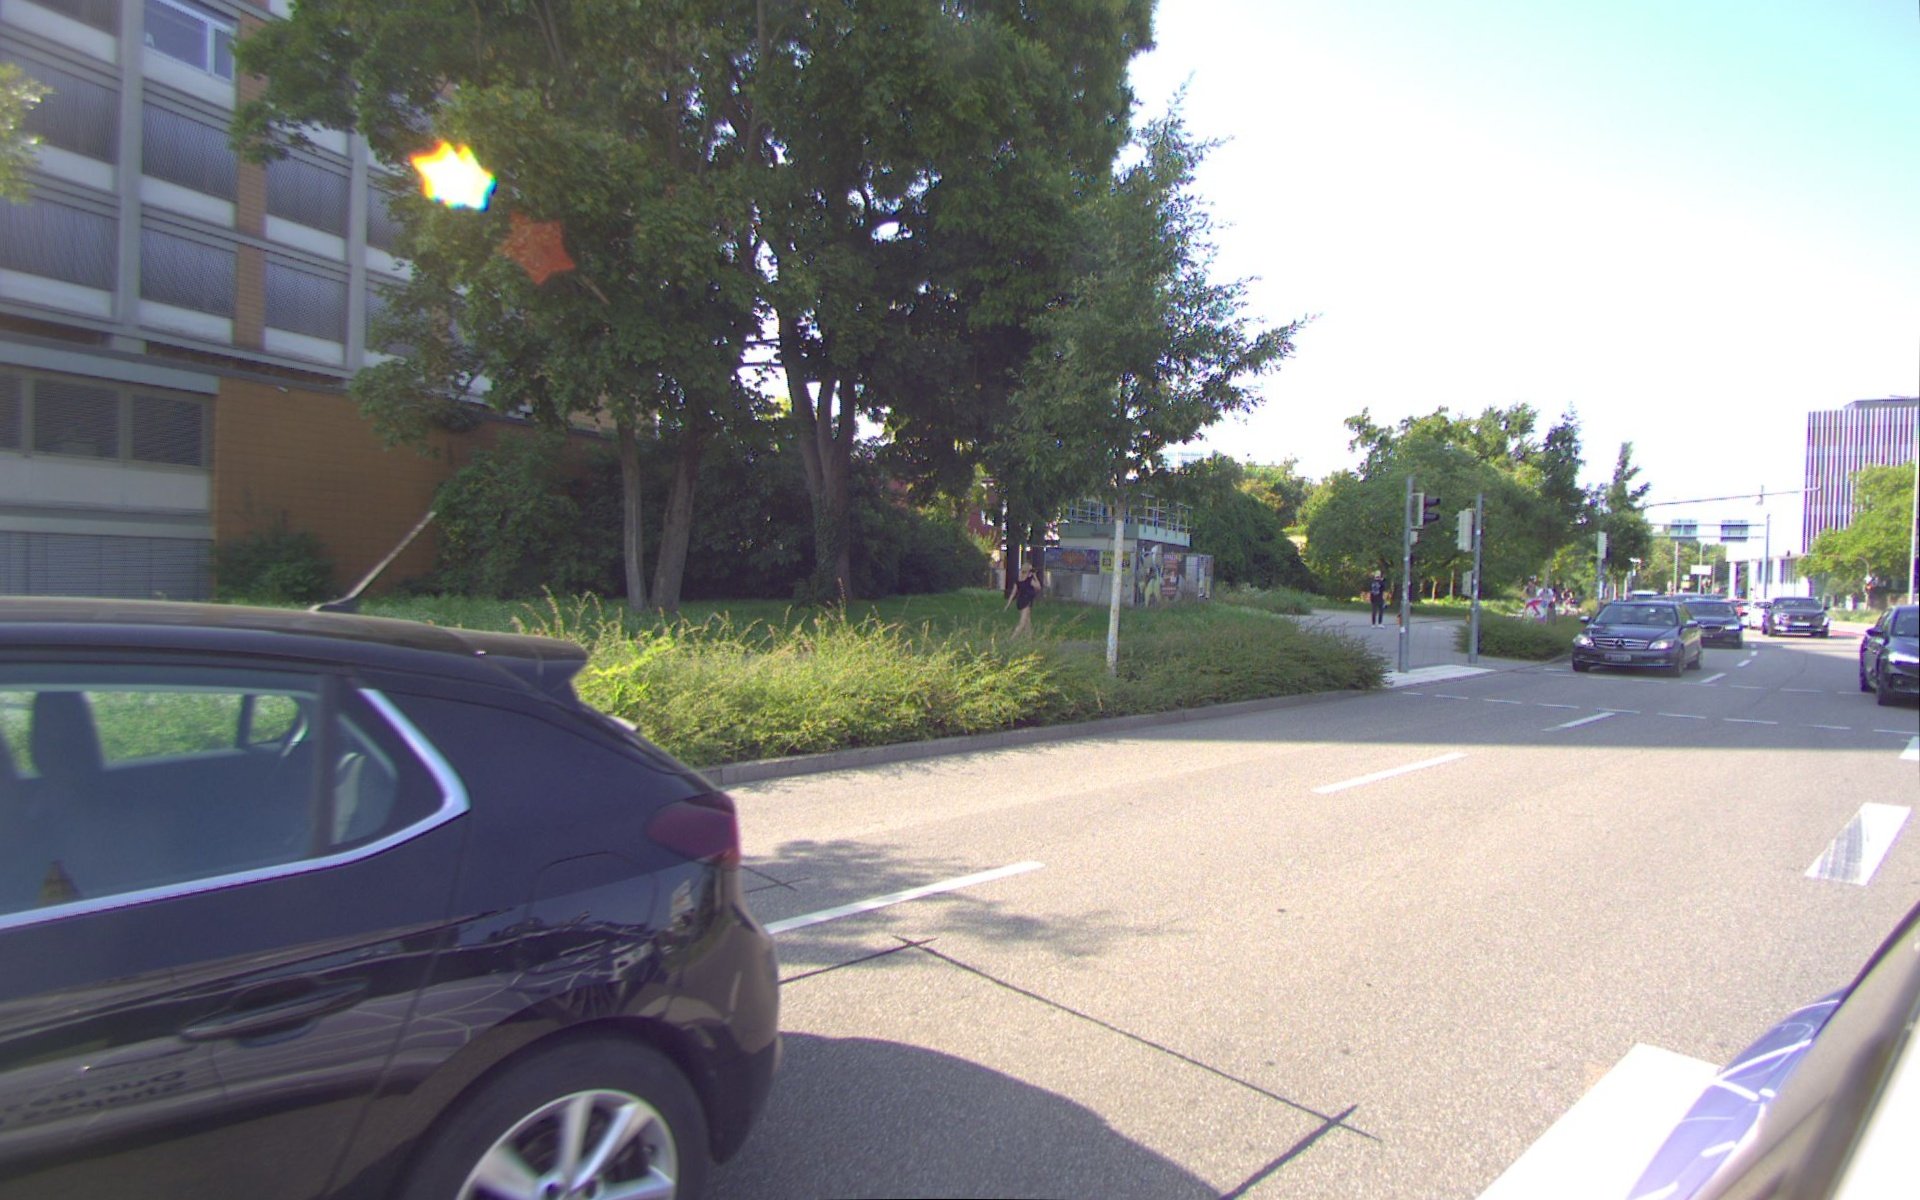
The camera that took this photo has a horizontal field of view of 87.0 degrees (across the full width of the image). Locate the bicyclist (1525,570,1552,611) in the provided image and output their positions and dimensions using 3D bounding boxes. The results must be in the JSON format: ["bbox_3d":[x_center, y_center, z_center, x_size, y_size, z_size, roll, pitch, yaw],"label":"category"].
[{"bbox_3d":[23.202,-0.379,40.575,0.770,1.613,0.911,2,1,39],"label":"bicyclist"}]

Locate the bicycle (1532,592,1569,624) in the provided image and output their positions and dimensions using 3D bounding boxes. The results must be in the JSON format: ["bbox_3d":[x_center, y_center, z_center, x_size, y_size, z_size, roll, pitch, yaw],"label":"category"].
[{"bbox_3d":[22.420,0.283,38.410,0.770,1.131,2.269,3,2,41],"label":"bicycle"}]

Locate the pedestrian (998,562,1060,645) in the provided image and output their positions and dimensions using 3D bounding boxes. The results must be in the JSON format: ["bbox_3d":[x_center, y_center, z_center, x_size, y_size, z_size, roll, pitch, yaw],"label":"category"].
[{"bbox_3d":[1.256,0.047,18.467,0.841,1.461,0.727,0,1,-37],"label":"pedestrian"}]

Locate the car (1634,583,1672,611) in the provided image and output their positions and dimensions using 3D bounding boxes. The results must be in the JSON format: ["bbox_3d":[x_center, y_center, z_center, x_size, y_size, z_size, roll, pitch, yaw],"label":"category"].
[{"bbox_3d":[52.102,-0.241,76.159,1.672,1.966,4.332,2,2,26],"label":"car"}]

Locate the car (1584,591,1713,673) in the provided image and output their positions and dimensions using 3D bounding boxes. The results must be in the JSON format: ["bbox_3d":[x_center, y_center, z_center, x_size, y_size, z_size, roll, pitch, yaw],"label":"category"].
[{"bbox_3d":[13.927,0.552,20.365,1.681,1.460,4.308,1,1,41],"label":"car"}]

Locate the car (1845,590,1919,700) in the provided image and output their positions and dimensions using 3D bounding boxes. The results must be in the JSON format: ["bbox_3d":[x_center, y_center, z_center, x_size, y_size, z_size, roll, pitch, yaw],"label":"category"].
[{"bbox_3d":[14.618,0.601,14.906,1.826,1.453,4.494,2,1,34],"label":"car"}]

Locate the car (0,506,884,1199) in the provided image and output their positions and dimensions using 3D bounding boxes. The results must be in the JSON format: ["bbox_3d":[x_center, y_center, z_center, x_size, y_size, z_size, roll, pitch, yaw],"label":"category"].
[{"bbox_3d":[-2.311,0.634,1.510,4.298,1.511,1.684,0,0,-43],"label":"car"}]

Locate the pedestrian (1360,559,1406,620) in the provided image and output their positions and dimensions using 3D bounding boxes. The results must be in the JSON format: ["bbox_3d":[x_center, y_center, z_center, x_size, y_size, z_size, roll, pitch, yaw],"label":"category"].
[{"bbox_3d":[13.120,-0.334,31.363,0.957,1.804,0.987,5,3,42],"label":"pedestrian"}]

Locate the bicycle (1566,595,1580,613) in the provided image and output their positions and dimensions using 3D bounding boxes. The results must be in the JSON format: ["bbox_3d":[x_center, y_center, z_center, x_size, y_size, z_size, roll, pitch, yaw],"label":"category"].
[{"bbox_3d":[40.863,0.259,67.502,0.767,1.131,2.278,2,1,31],"label":"bicycle"}]

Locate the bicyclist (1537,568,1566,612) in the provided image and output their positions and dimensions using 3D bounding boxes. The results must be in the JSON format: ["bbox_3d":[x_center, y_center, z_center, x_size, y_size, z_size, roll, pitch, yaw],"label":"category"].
[{"bbox_3d":[22.440,-0.380,38.390,0.770,1.612,0.910,3,2,41],"label":"bicyclist"}]

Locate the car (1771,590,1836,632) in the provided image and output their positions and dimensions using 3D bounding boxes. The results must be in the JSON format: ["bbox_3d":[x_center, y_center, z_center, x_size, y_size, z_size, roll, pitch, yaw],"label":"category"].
[{"bbox_3d":[33.586,0.391,40.381,1.679,1.510,4.315,3,2,36],"label":"car"}]

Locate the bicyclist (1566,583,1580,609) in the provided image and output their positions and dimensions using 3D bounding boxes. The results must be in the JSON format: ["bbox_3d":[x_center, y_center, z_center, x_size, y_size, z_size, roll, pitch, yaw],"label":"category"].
[{"bbox_3d":[40.831,-0.288,67.431,0.768,1.697,0.913,2,1,33],"label":"bicyclist"}]

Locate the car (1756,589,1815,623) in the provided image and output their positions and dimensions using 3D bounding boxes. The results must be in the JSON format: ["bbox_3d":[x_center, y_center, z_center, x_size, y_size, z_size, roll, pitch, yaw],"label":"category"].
[{"bbox_3d":[39.478,0.235,48.496,1.772,1.501,4.477,2,2,34],"label":"car"}]

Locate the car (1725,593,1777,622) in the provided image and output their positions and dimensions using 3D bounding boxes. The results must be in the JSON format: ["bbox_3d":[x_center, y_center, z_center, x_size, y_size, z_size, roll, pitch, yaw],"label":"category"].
[{"bbox_3d":[44.743,0.393,57.326,1.674,1.510,4.325,2,2,30],"label":"car"}]

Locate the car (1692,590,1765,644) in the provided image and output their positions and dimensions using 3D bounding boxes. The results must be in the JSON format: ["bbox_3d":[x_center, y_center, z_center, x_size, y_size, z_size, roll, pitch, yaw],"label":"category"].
[{"bbox_3d":[24.076,0.480,31.695,1.679,1.510,4.609,3,2,38],"label":"car"}]

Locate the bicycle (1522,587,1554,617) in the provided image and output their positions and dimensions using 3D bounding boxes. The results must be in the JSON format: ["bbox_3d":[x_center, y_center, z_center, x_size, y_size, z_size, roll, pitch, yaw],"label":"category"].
[{"bbox_3d":[23.212,0.063,40.605,0.770,1.131,2.272,2,1,38],"label":"bicycle"}]
